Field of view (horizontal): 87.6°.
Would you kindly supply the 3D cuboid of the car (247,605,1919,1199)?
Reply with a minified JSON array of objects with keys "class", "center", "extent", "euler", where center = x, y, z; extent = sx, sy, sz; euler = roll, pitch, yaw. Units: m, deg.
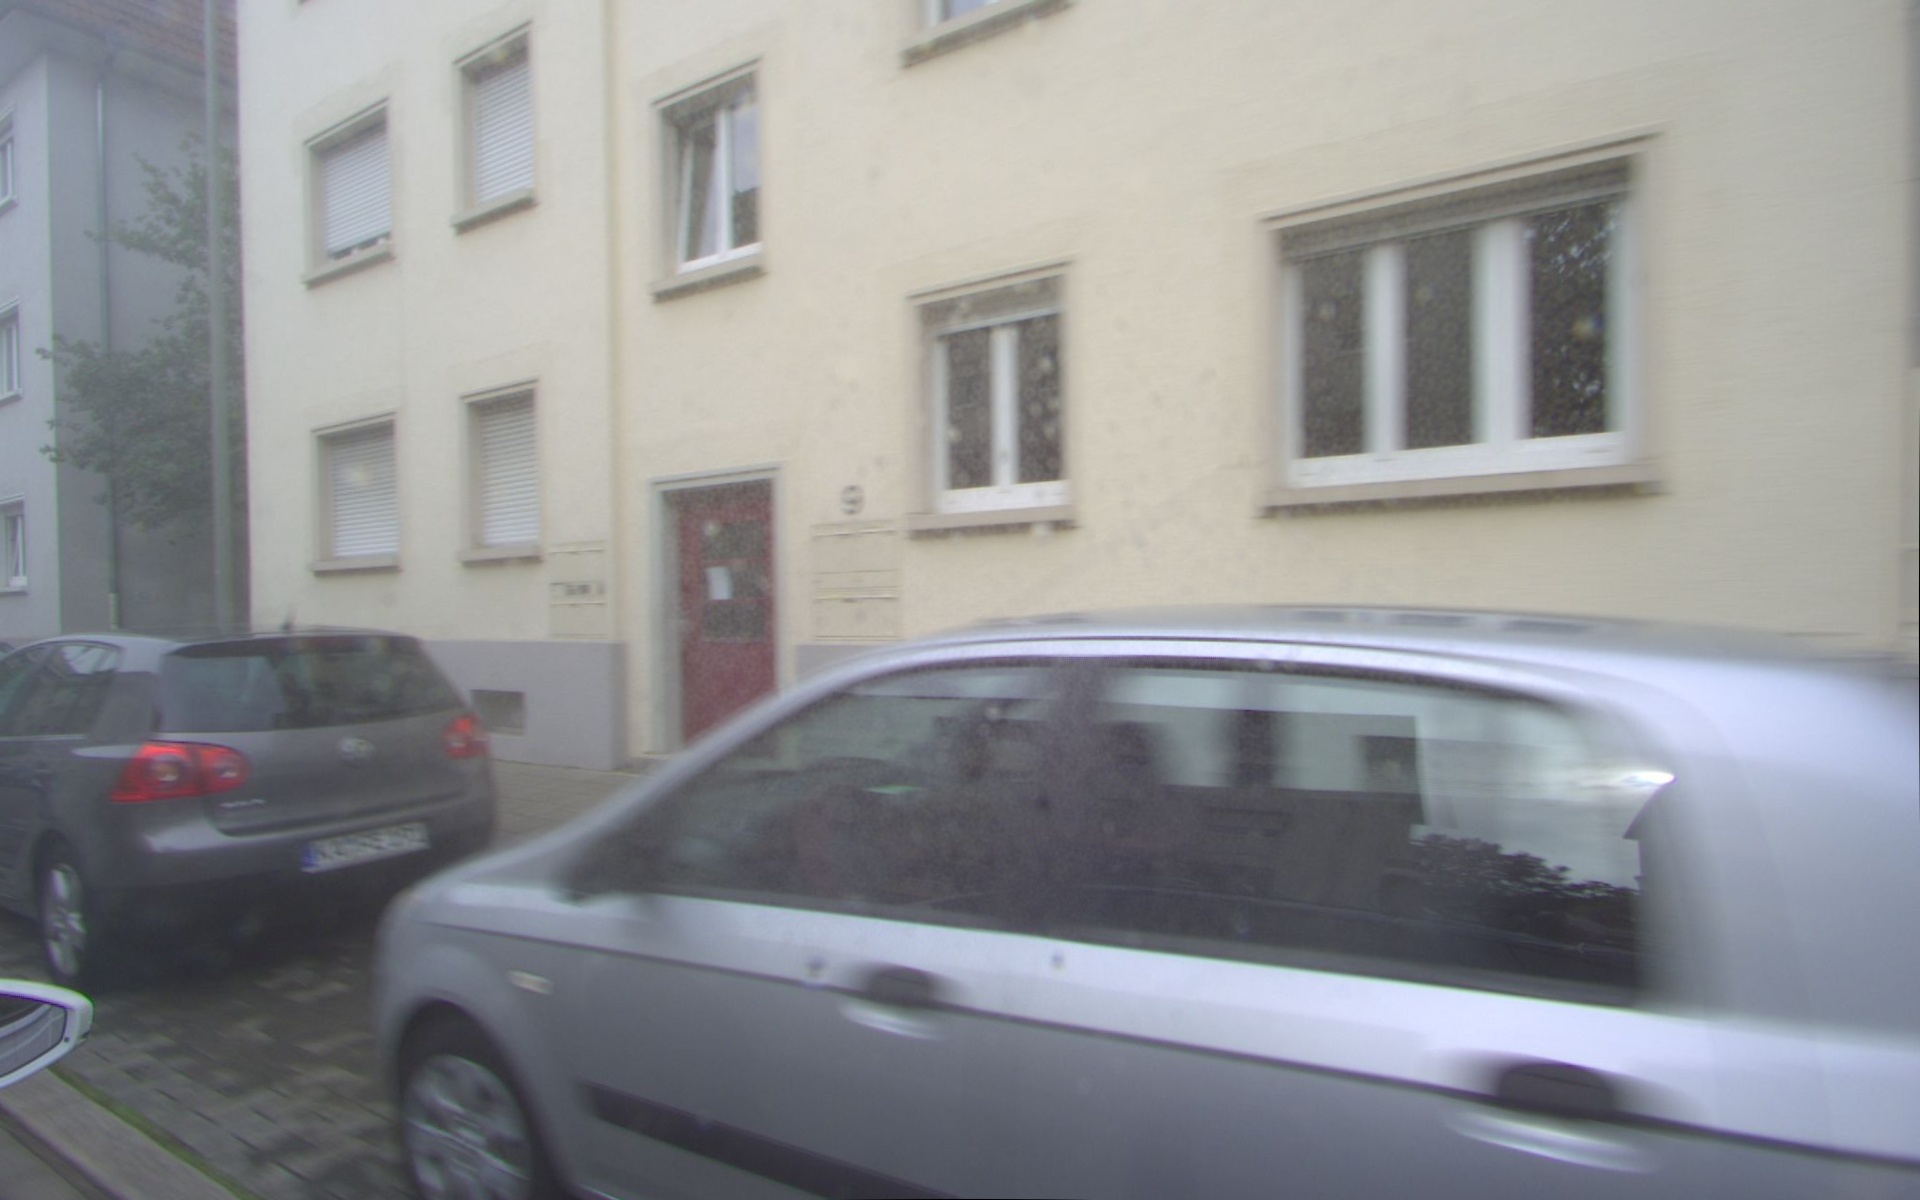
[{"class":"car","center":[0.167,0.770,2.513],"extent":[3.776,1.469,1.846],"euler":[-1,-1,31]}]

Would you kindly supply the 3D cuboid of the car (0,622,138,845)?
[{"class":"car","center":[-8.362,0.925,7.860],"extent":[4.441,1.495,1.721],"euler":[-1,-1,33]}]

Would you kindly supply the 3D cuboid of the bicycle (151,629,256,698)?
[{"class":"bicycle","center":[-12.526,1.034,16.602],"extent":[0.491,1.076,1.289],"euler":[0,0,34]}]

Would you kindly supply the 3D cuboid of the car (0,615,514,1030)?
[{"class":"car","center":[-4.234,0.840,5.331],"extent":[3.815,1.495,1.599],"euler":[-1,-1,33]}]
